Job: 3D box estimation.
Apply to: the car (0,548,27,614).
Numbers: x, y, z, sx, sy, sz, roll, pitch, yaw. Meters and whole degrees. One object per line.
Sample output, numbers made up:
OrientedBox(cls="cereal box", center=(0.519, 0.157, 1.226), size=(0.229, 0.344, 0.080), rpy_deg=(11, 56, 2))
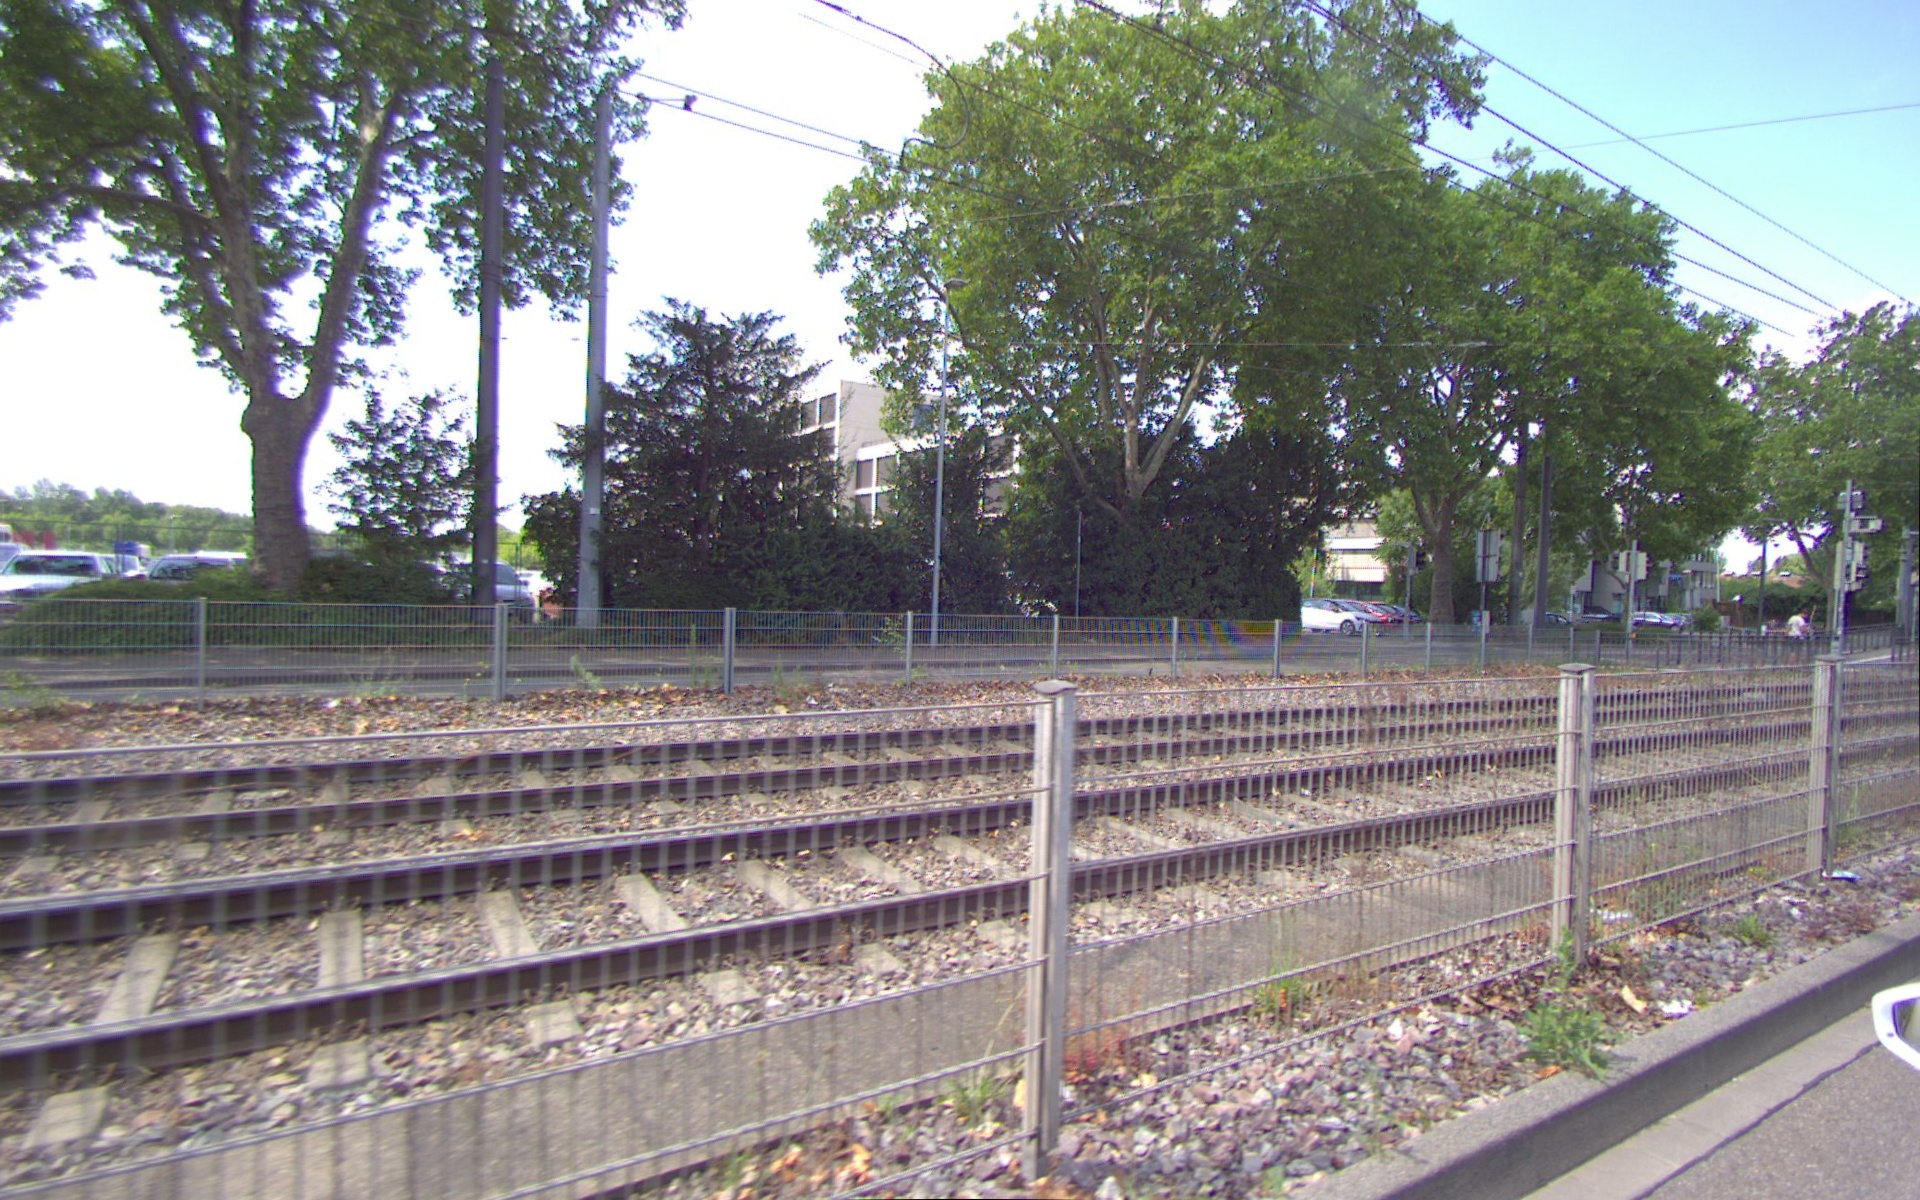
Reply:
OrientedBox(cls="car", center=(-27.232, -0.565, 27.289), size=(1.978, 1.795, 3.965), rpy_deg=(2, 1, -32))

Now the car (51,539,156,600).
OrientedBox(cls="car", center=(-28.057, -1.001, 33.042), size=(1.978, 1.795, 3.965), rpy_deg=(2, 1, -32))

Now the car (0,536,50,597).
OrientedBox(cls="car", center=(-30.282, -1.093, 31.385), size=(1.978, 1.795, 3.965), rpy_deg=(2, 1, -32))

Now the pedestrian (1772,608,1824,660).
OrientedBox(cls="pedestrian", center=(22.498, 0.909, 26.972), size=(0.914, 1.361, 0.856), rpy_deg=(2, 0, -36))

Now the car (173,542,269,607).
OrientedBox(cls="car", center=(-22.495, -0.776, 30.720), size=(1.978, 1.795, 3.965), rpy_deg=(2, 1, -32))

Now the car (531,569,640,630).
OrientedBox(cls="car", center=(-10.112, -0.043, 26.926), size=(1.978, 1.461, 3.965), rpy_deg=(2, 1, -32))

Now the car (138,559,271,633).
OrientedBox(cls="car", center=(-16.706, -0.134, 22.402), size=(1.978, 1.461, 3.965), rpy_deg=(2, 1, -32))

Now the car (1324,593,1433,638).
OrientedBox(cls="car", center=(17.867, 0.643, 43.015), size=(1.786, 1.773, 3.960), rpy_deg=(1, 1, -35))

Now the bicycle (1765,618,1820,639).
OrientedBox(cls="bicycle", center=(61.210, 2.106, 73.858), size=(0.626, 1.183, 3.025), rpy_deg=(2, 4, -28))

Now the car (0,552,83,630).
OrientedBox(cls="car", center=(-19.646, -0.248, 20.481), size=(1.978, 1.461, 3.965), rpy_deg=(2, 1, -32))

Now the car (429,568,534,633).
OrientedBox(cls="car", center=(-12.212, -0.013, 25.510), size=(1.978, 1.461, 3.965), rpy_deg=(2, 1, -32))

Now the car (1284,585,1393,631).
OrientedBox(cls="car", center=(15.858, 0.298, 42.266), size=(1.786, 1.773, 3.960), rpy_deg=(1, 1, -35))

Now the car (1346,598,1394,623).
OrientedBox(cls="car", center=(35.326, 0.889, 86.630), size=(1.962, 2.040, 4.436), rpy_deg=(2, -1, -5))
